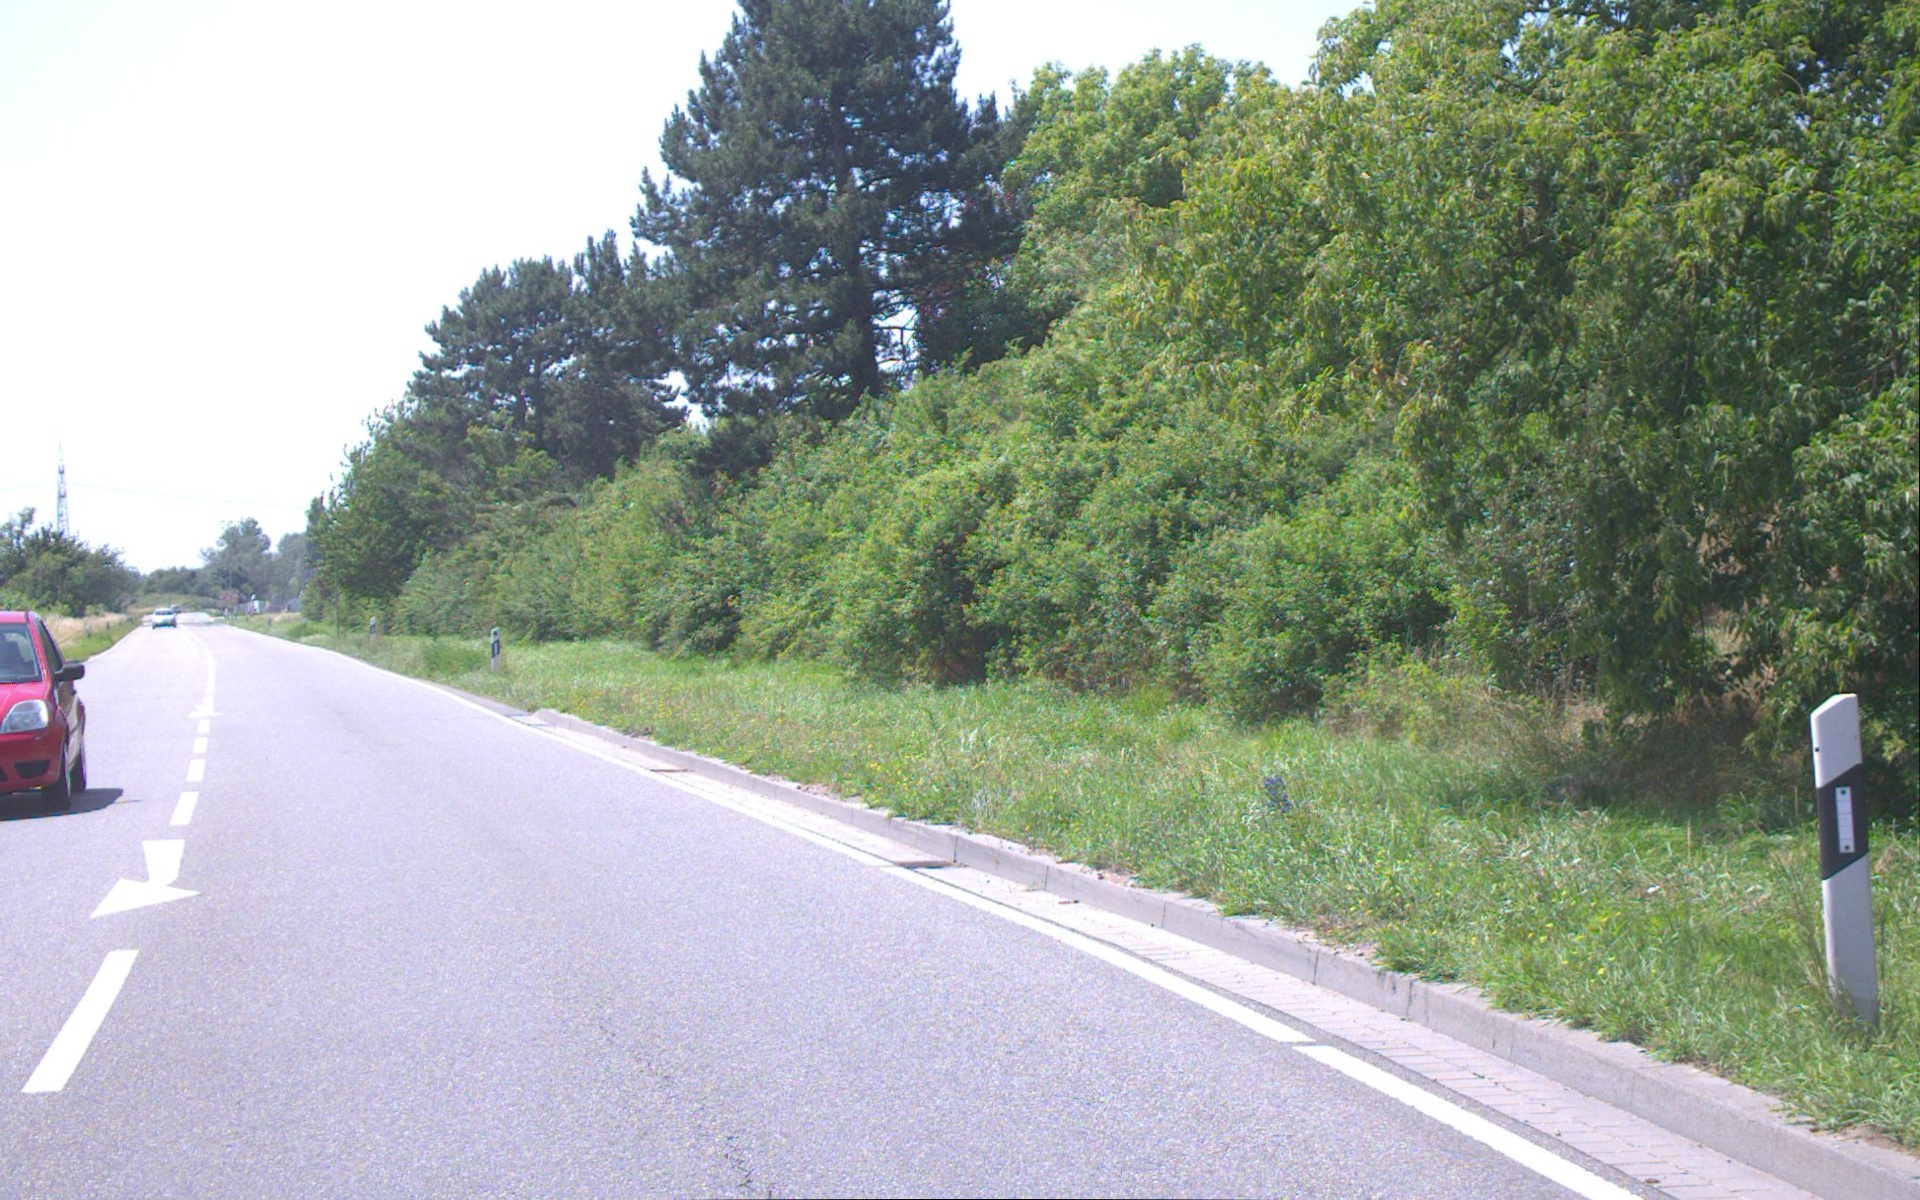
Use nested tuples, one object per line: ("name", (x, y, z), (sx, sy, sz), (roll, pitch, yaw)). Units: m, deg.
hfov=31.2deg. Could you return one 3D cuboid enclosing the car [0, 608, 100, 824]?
("car", (-7.322, 0.832, 25.079), (1.655, 1.428, 3.737), (-3, 1, -9))
